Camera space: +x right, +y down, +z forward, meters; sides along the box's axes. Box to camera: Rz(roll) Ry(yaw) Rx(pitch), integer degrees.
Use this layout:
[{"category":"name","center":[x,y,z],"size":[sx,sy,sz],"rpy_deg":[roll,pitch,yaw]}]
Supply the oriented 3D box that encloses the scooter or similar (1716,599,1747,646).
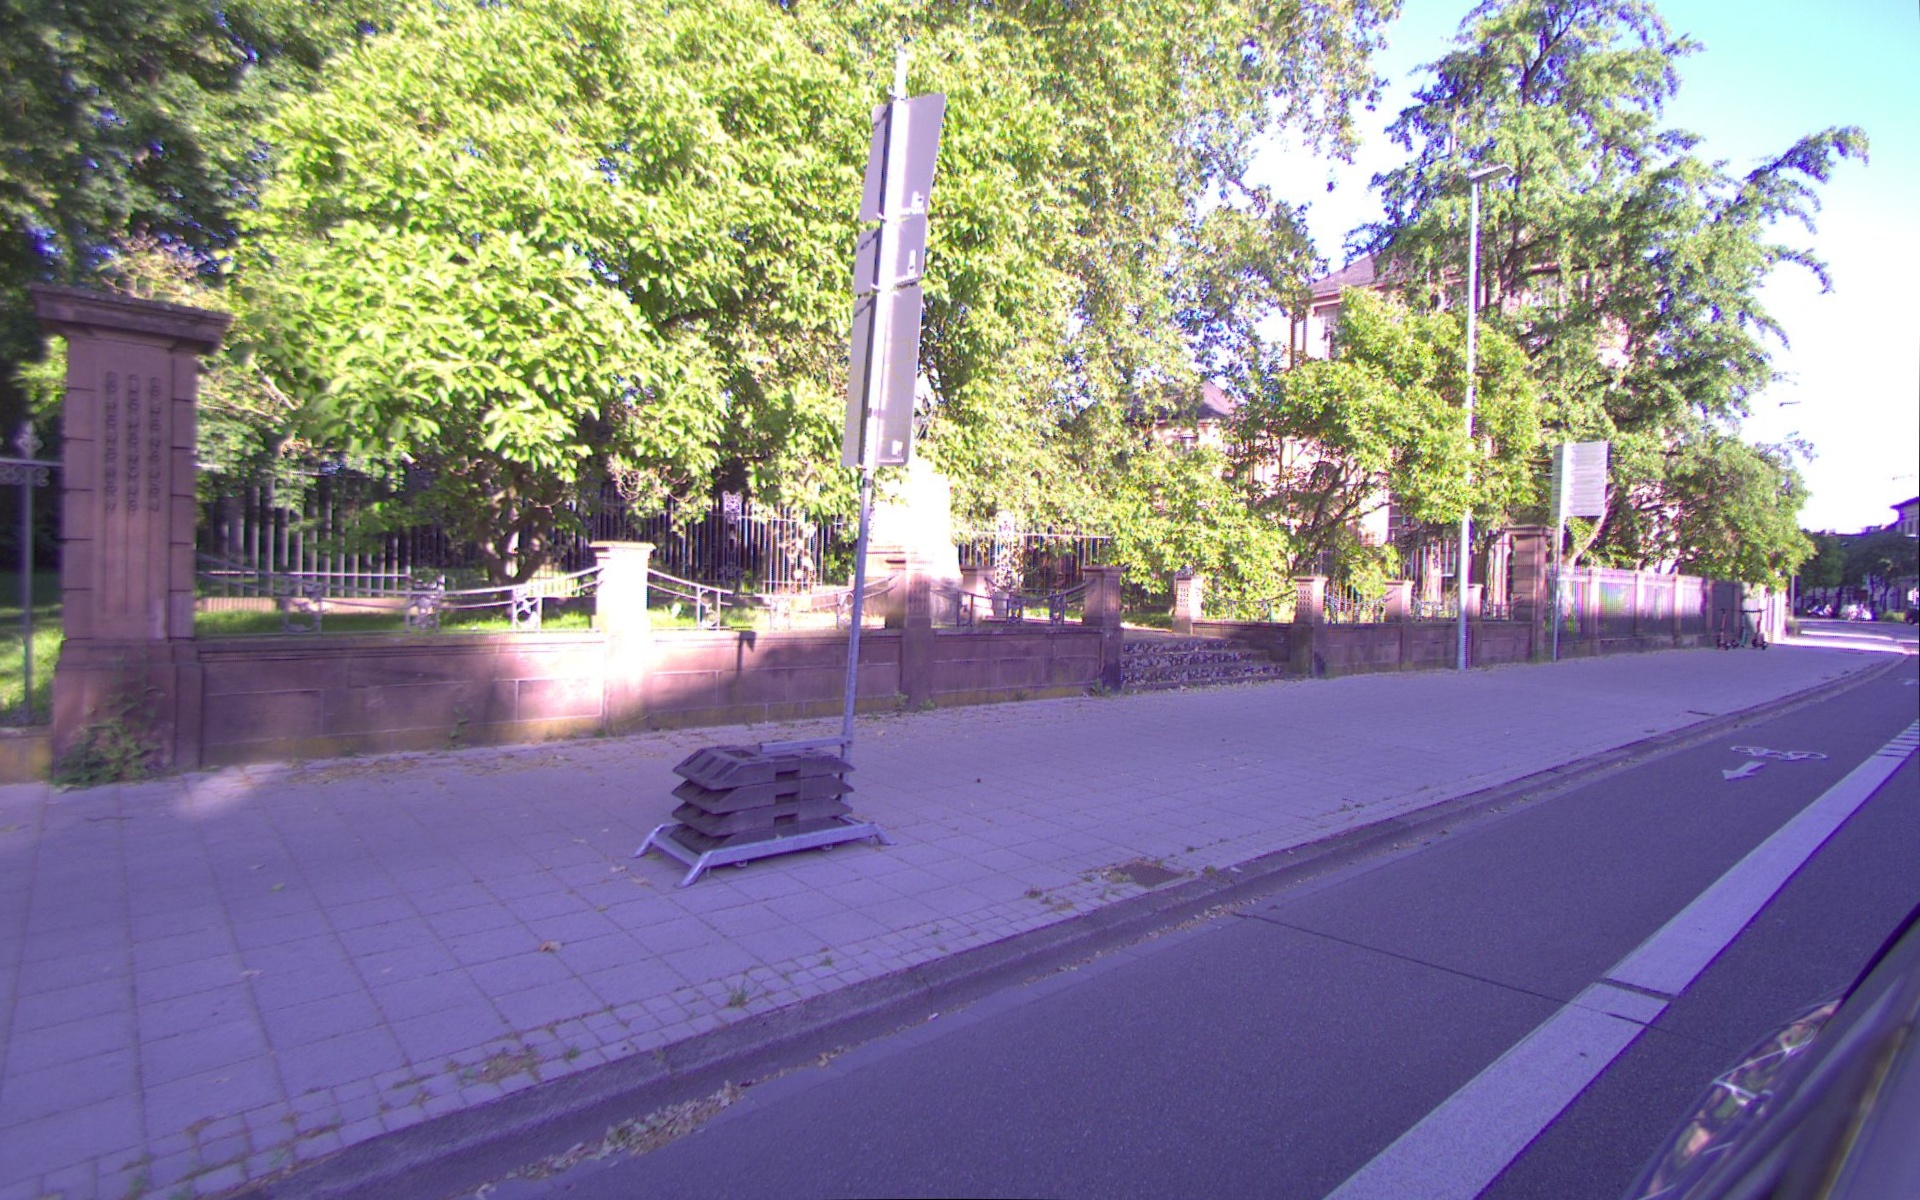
[{"category":"scooter or similar","center":[22.255,0.628,29.210],"size":[0.572,1.269,1.470],"rpy_deg":[2,1,33]}]

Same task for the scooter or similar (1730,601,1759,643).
[{"category":"scooter or similar","center":[23.603,0.645,30.434],"size":[0.574,1.199,1.465],"rpy_deg":[3,2,41]}]

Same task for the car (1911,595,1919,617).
[{"category":"car","center":[92.128,0.657,94.441],"size":[1.958,2.131,4.526],"rpy_deg":[1,2,-12]}]

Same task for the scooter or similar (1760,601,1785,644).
[{"category":"scooter or similar","center":[24.703,0.657,30.784],"size":[0.514,1.255,1.502],"rpy_deg":[2,2,37]}]
